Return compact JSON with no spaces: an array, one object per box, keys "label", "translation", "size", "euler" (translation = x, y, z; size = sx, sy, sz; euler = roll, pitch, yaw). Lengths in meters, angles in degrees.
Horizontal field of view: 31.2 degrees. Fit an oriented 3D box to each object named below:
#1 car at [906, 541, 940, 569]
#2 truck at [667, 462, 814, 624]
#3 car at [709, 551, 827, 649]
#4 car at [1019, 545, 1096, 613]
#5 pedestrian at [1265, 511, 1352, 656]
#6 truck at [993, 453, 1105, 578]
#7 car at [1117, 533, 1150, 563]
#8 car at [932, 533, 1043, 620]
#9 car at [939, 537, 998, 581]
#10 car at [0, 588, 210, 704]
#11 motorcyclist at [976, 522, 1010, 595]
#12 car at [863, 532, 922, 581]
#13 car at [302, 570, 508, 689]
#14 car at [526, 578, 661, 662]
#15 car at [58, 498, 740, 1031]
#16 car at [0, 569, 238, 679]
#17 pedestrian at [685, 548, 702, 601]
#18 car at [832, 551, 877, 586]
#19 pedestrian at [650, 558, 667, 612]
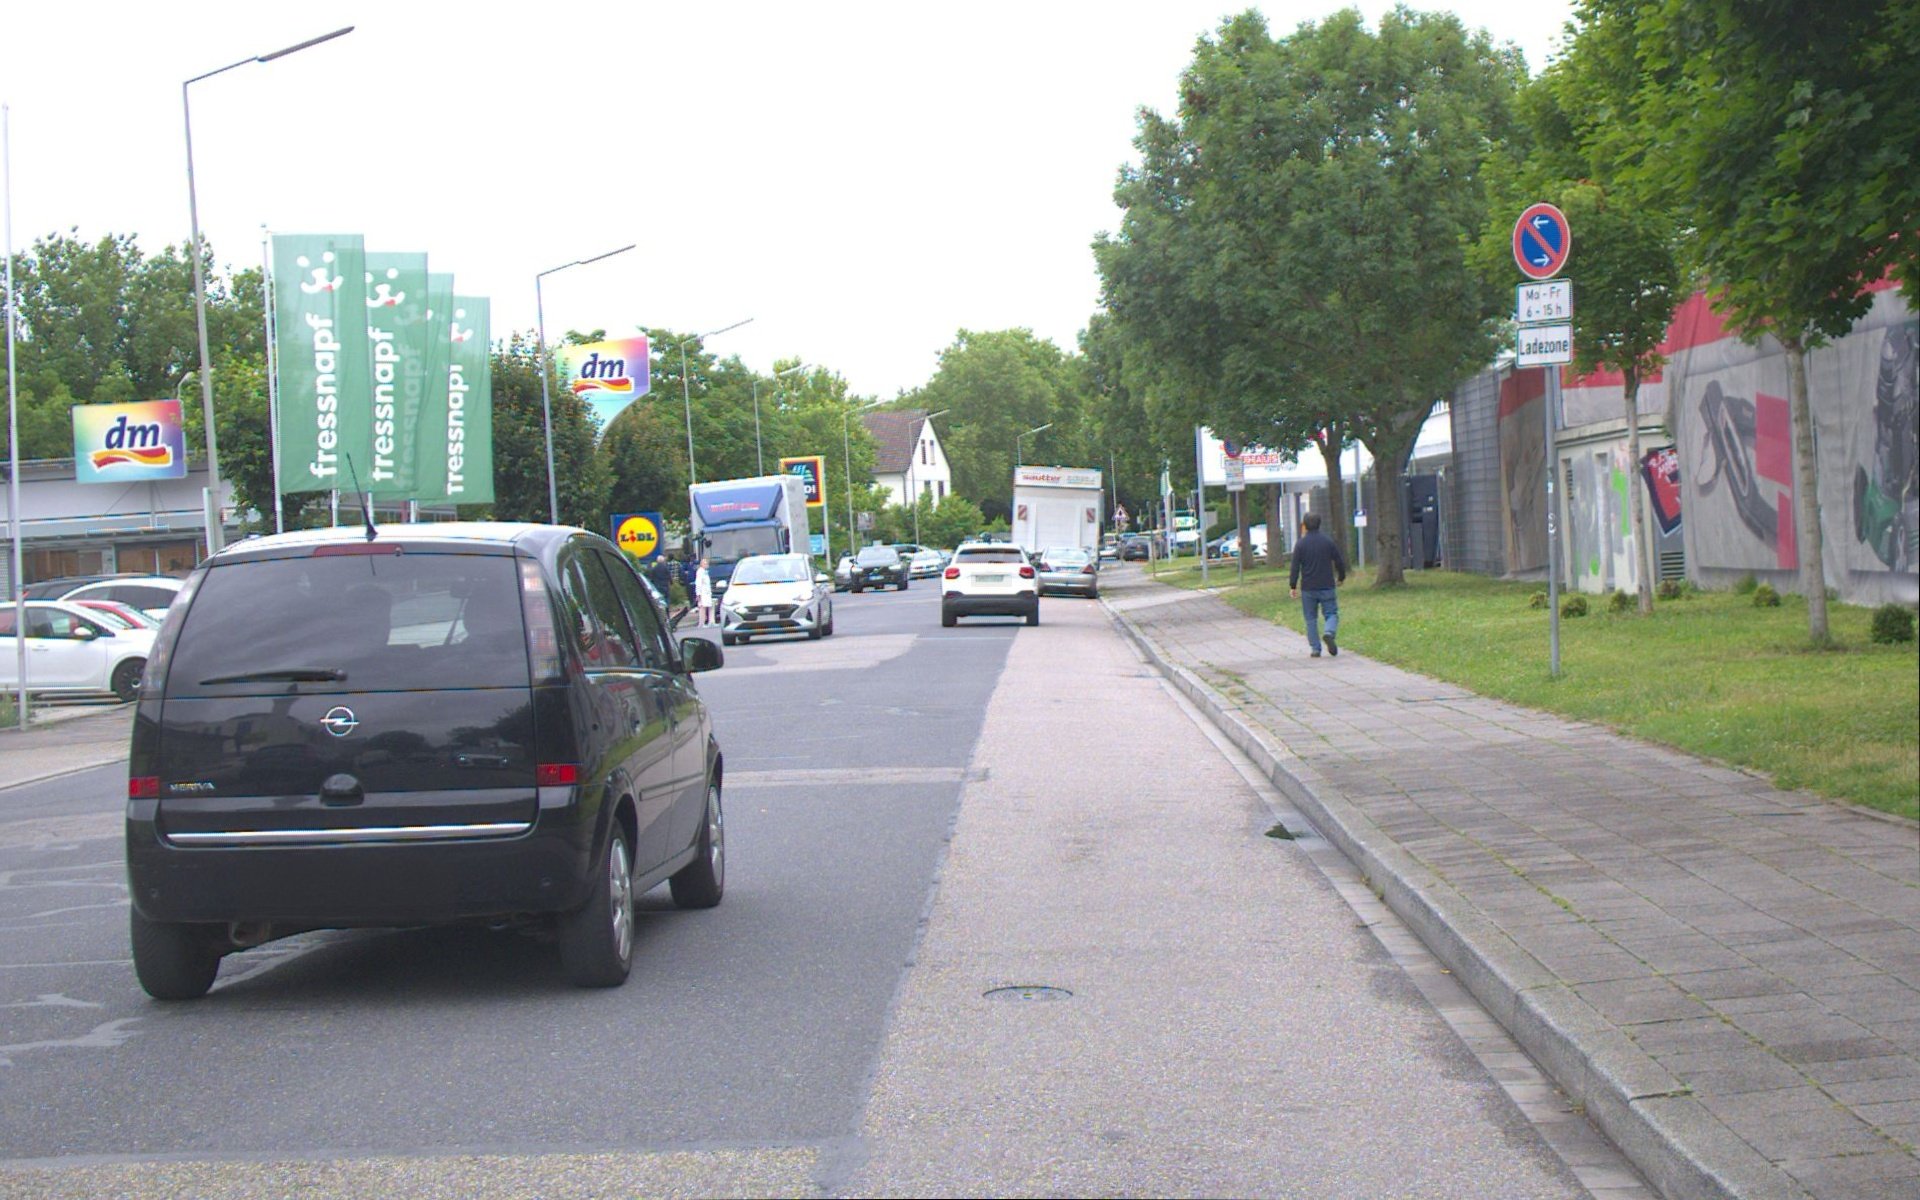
[{"label":"car","translation":[-1.848,-2.286,173.773],"size":[1.542,1.361,3.428],"euler":[-2,0,2]},{"label":"truck","translation":[-5.756,-1.527,91.310],"size":[2.974,3.942,6.404],"euler":[-4,1,2]},{"label":"car","translation":[-3.274,-0.017,59.199],"size":[1.599,1.523,3.528],"euler":[-5,0,2]},{"label":"car","translation":[2.704,-0.585,96.245],"size":[1.993,1.800,4.000],"euler":[-2,0,0]},{"label":"pedestrian","translation":[4.010,-0.194,39.595],"size":[0.919,1.629,0.852],"euler":[-2,0,4]},{"label":"truck","translation":[2.655,-2.512,105.445],"size":[3.135,3.572,10.050],"euler":[-2,0,0]},{"label":"car","translation":[10.090,-3.049,200.093],"size":[1.886,1.677,4.254],"euler":[-1,1,2]},{"label":"car","translation":[0.537,-0.458,63.647],"size":[1.886,1.526,4.254],"euler":[-1,1,2]},{"label":"car","translation":[0.305,-1.453,120.886],"size":[1.937,1.362,4.000],"euler":[-4,1,1]},{"label":"car","translation":[-12.785,0.663,48.154],"size":[4.202,1.458,1.953],"euler":[-3,1,-6]},{"label":"motorcyclist","translation":[0.718,-0.914,75.497],"size":[0.625,1.548,0.604],"euler":[-3,1,4]},{"label":"car","translation":[-2.422,-1.546,124.147],"size":[1.993,1.678,4.000],"euler":[-2,0,0]},{"label":"car","translation":[-7.269,0.352,45.413],"size":[1.898,1.362,4.000],"euler":[-3,1,2]},{"label":"car","translation":[-6.744,0.350,63.669],"size":[1.898,1.362,4.000],"euler":[-3,1,2]},{"label":"car","translation":[-1.928,0.497,12.929],"size":[1.681,1.626,3.759],"euler":[-3,1,3]},{"label":"car","translation":[-13.406,0.381,53.031],"size":[4.135,1.458,1.899],"euler":[-3,1,-3]},{"label":"pedestrian","translation":[-7.805,-0.759,100.559],"size":[0.401,1.526,0.485],"euler":[-3,1,-4]},{"label":"car","translation":[-4.293,-1.294,140.361],"size":[1.623,1.370,3.452],"euler":[-2,0,1]},{"label":"pedestrian","translation":[-8.749,-0.431,99.652],"size":[0.401,1.526,0.485],"euler":[-3,1,-4]}]
